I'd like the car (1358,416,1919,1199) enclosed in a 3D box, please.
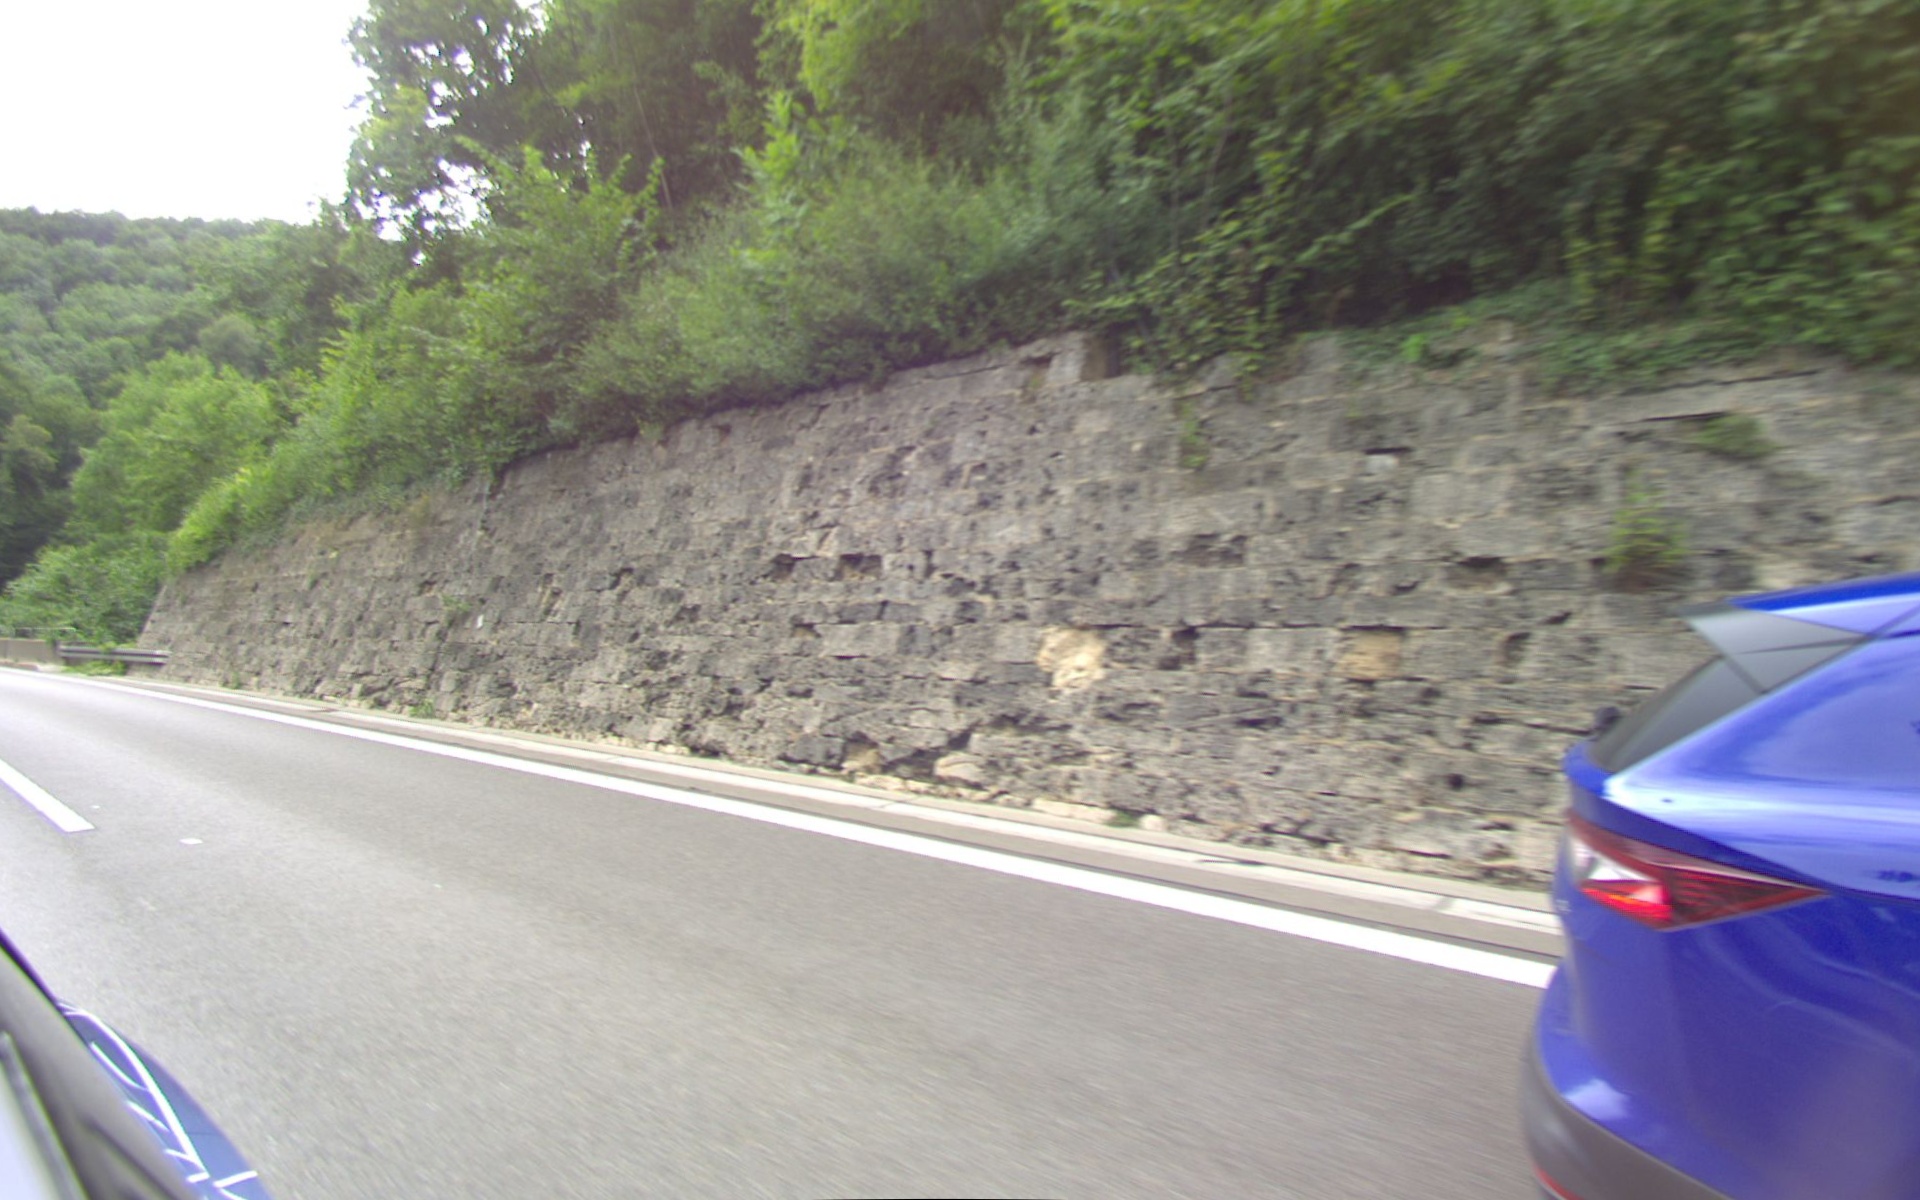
[{"bbox_3d":[3.214,0.567,0.832,5.007,1.644,1.972,-1,-2,42],"label":"car"}]
